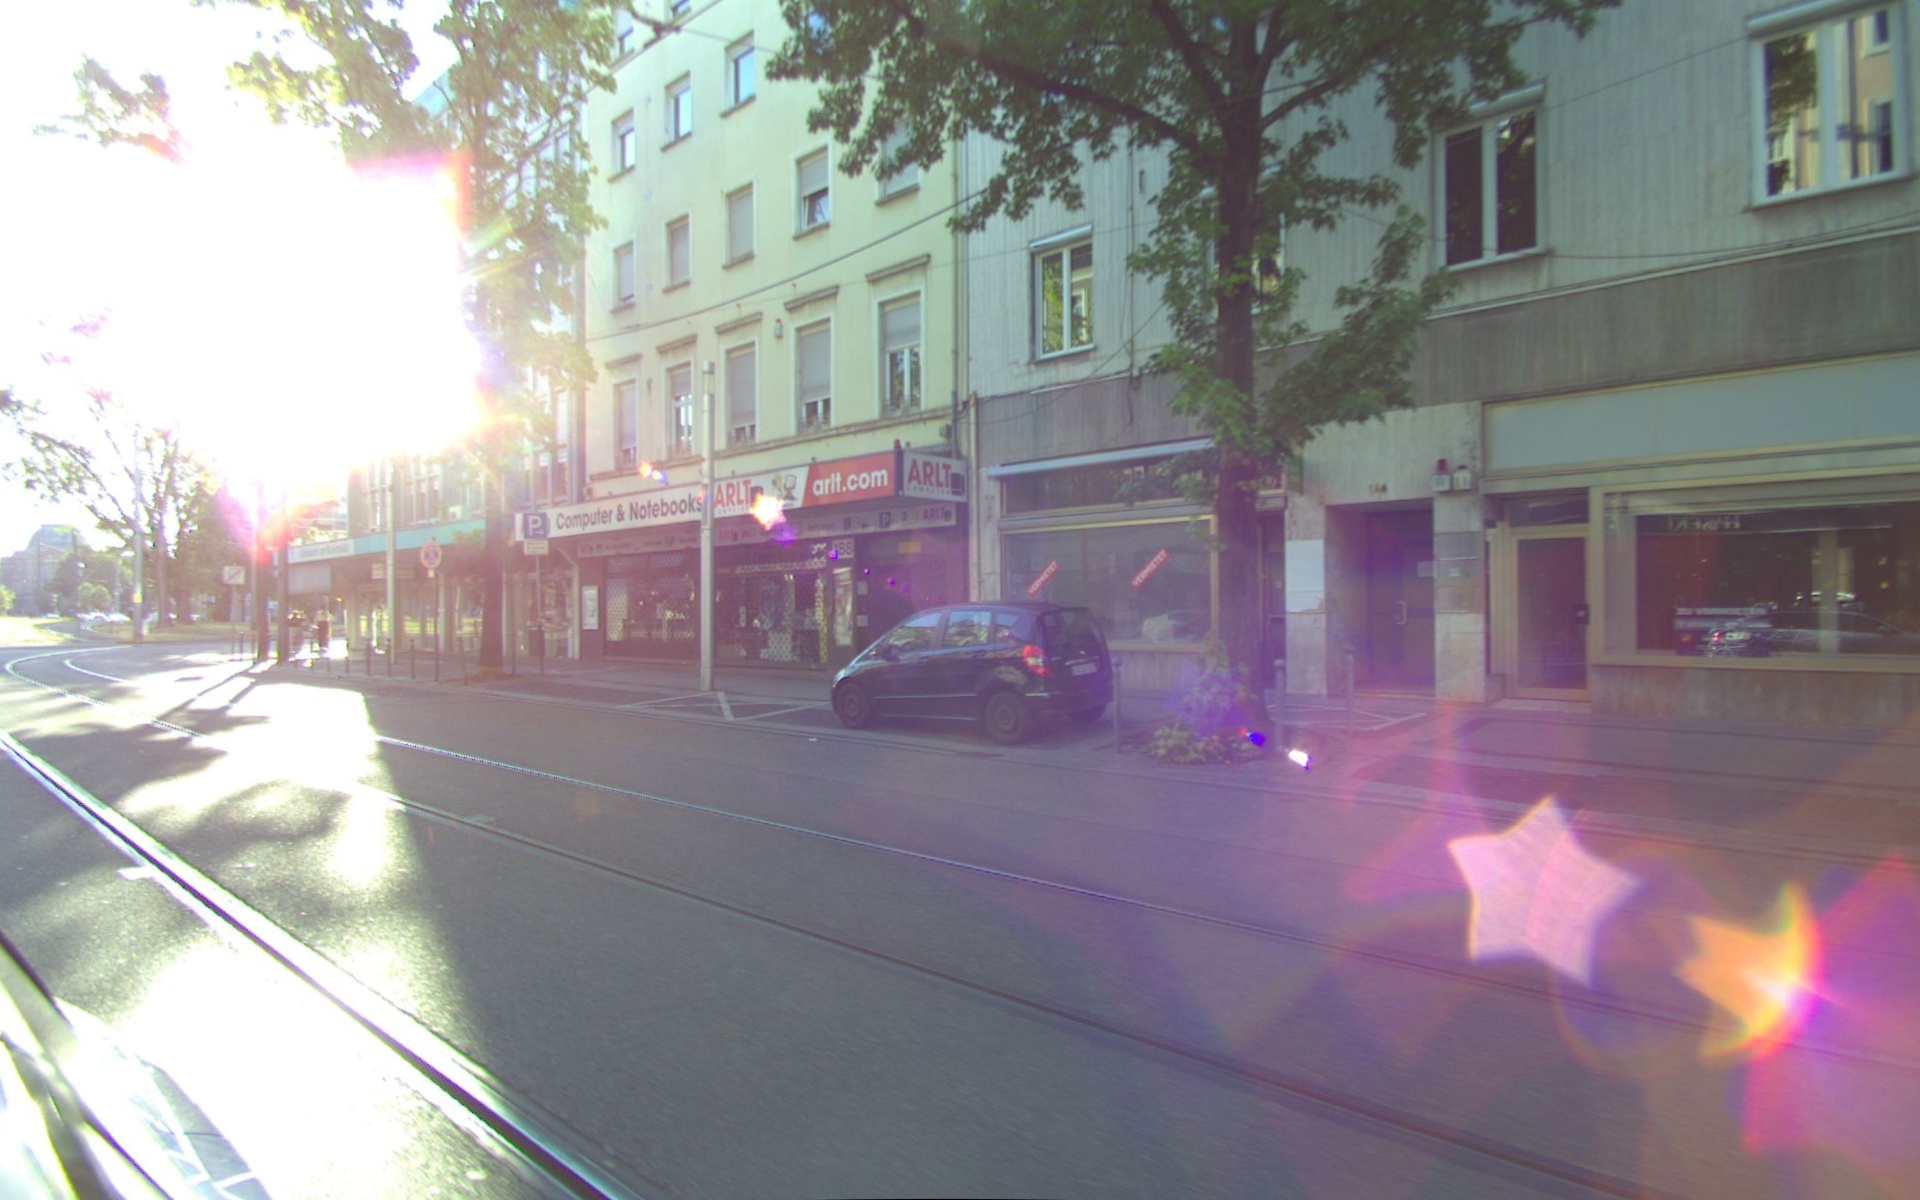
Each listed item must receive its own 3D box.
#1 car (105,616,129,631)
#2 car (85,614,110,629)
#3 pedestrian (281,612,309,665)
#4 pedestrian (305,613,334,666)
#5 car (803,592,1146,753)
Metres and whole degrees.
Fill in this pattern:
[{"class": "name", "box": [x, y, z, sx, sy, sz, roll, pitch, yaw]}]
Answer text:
[{"class": "car", "box": [-113.095, 3.116, 135.795, 4.000, 2.029, 1.972, -1, -1, 43]}, {"class": "car", "box": [-121.907, 3.050, 143.031, 4.544, 2.029, 1.974, -1, 0, 40]}, {"class": "pedestrian", "box": [-26.068, 1.503, 39.663, 0.734, 2.029, 0.788, 0, 0, 43]}, {"class": "pedestrian", "box": [-25.468, 1.556, 40.235, 0.734, 2.029, 0.788, 0, 0, 43]}, {"class": "car", "box": [0.100, 0.800, 12.853, 3.997, 1.652, 1.942, -1, 2, 40]}]
